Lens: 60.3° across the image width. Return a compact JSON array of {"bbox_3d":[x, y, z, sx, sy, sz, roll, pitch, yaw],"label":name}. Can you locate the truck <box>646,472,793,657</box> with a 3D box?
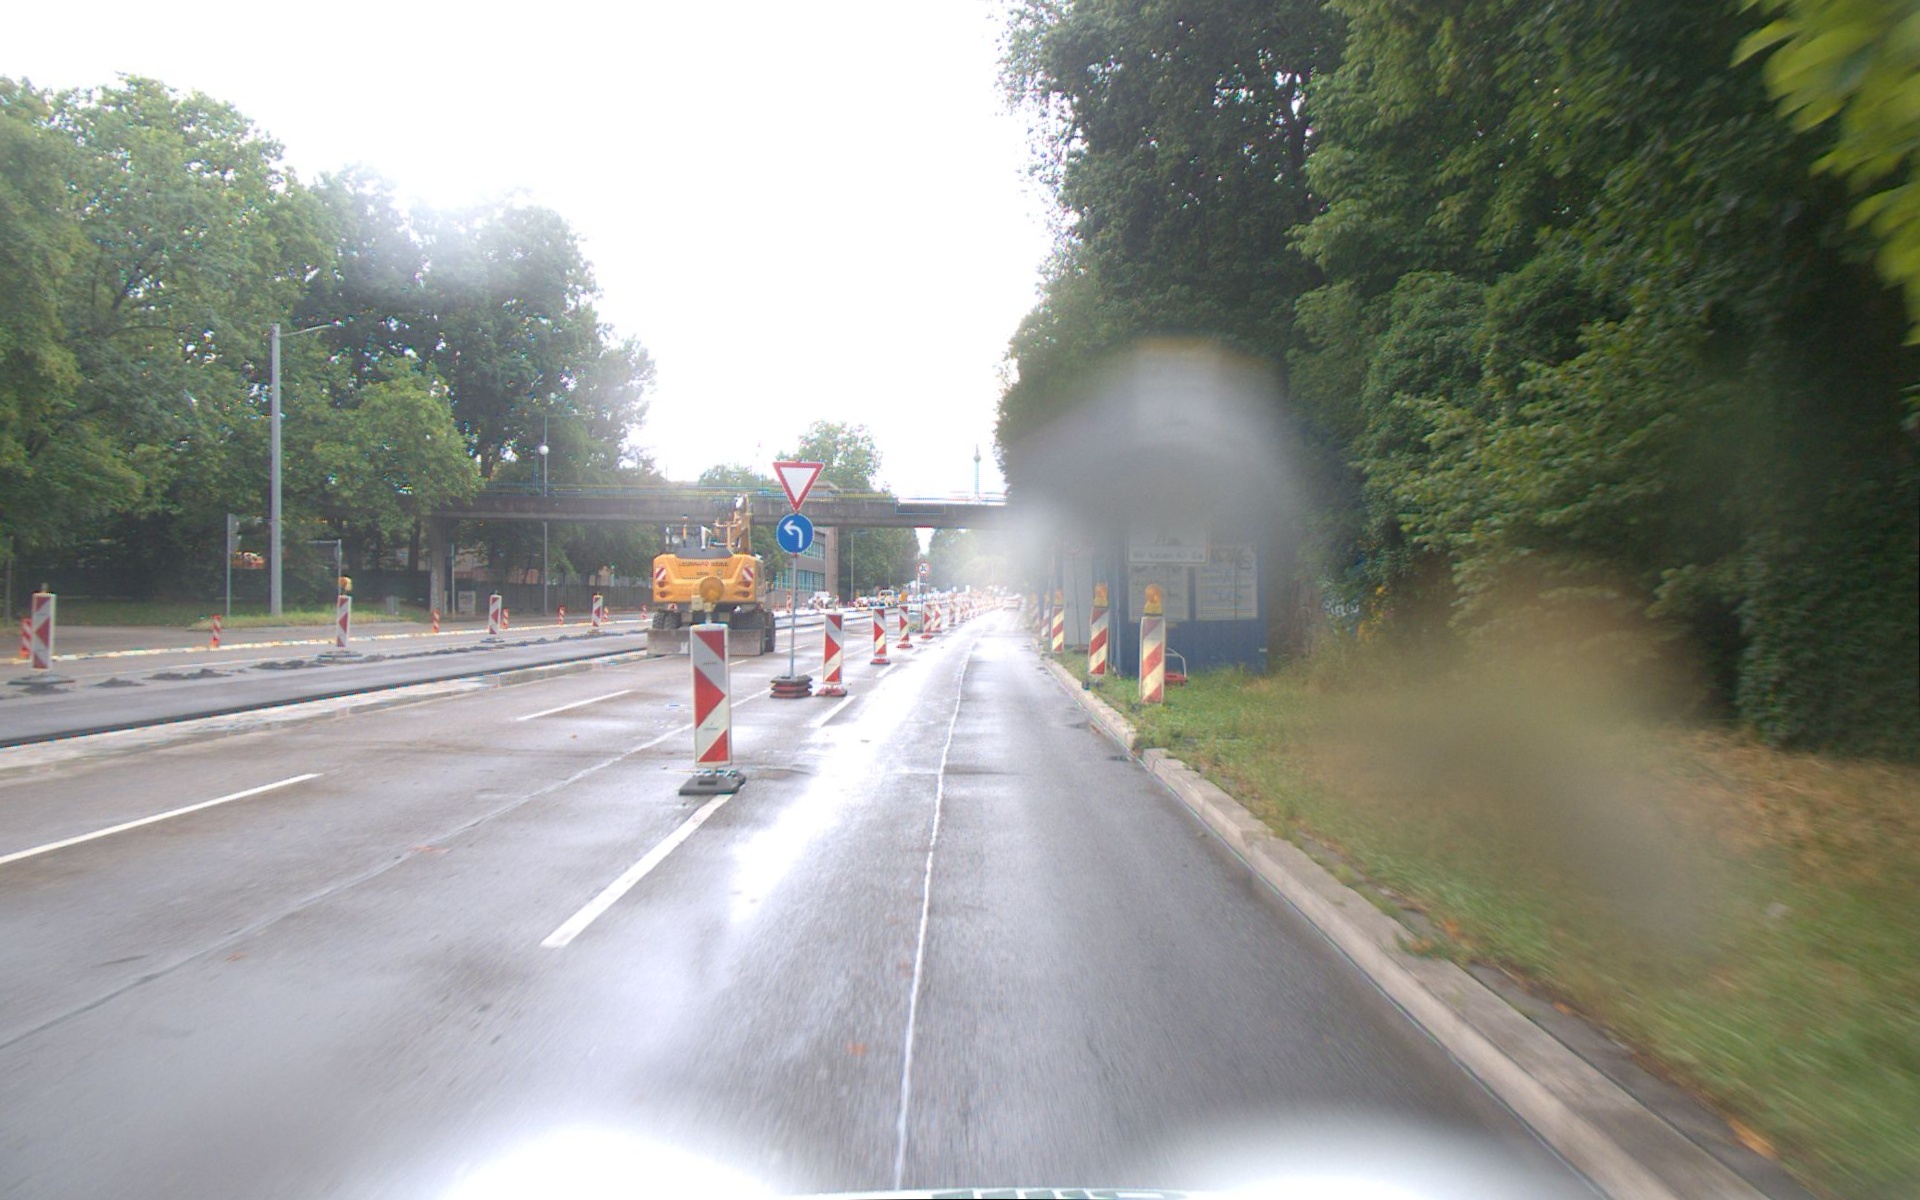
[{"bbox_3d":[-6.253,-0.841,44.689,2.840,4.334,10.749,1,0,-3],"label":"truck"}]

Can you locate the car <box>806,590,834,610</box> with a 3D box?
[{"bbox_3d":[-12.909,0.014,152.351,1.930,1.837,4.609,0,0,3],"label":"car"}]

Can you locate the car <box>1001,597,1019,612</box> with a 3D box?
[{"bbox_3d":[5.554,0.533,183.941,1.952,1.668,4.001,0,0,2],"label":"car"}]
